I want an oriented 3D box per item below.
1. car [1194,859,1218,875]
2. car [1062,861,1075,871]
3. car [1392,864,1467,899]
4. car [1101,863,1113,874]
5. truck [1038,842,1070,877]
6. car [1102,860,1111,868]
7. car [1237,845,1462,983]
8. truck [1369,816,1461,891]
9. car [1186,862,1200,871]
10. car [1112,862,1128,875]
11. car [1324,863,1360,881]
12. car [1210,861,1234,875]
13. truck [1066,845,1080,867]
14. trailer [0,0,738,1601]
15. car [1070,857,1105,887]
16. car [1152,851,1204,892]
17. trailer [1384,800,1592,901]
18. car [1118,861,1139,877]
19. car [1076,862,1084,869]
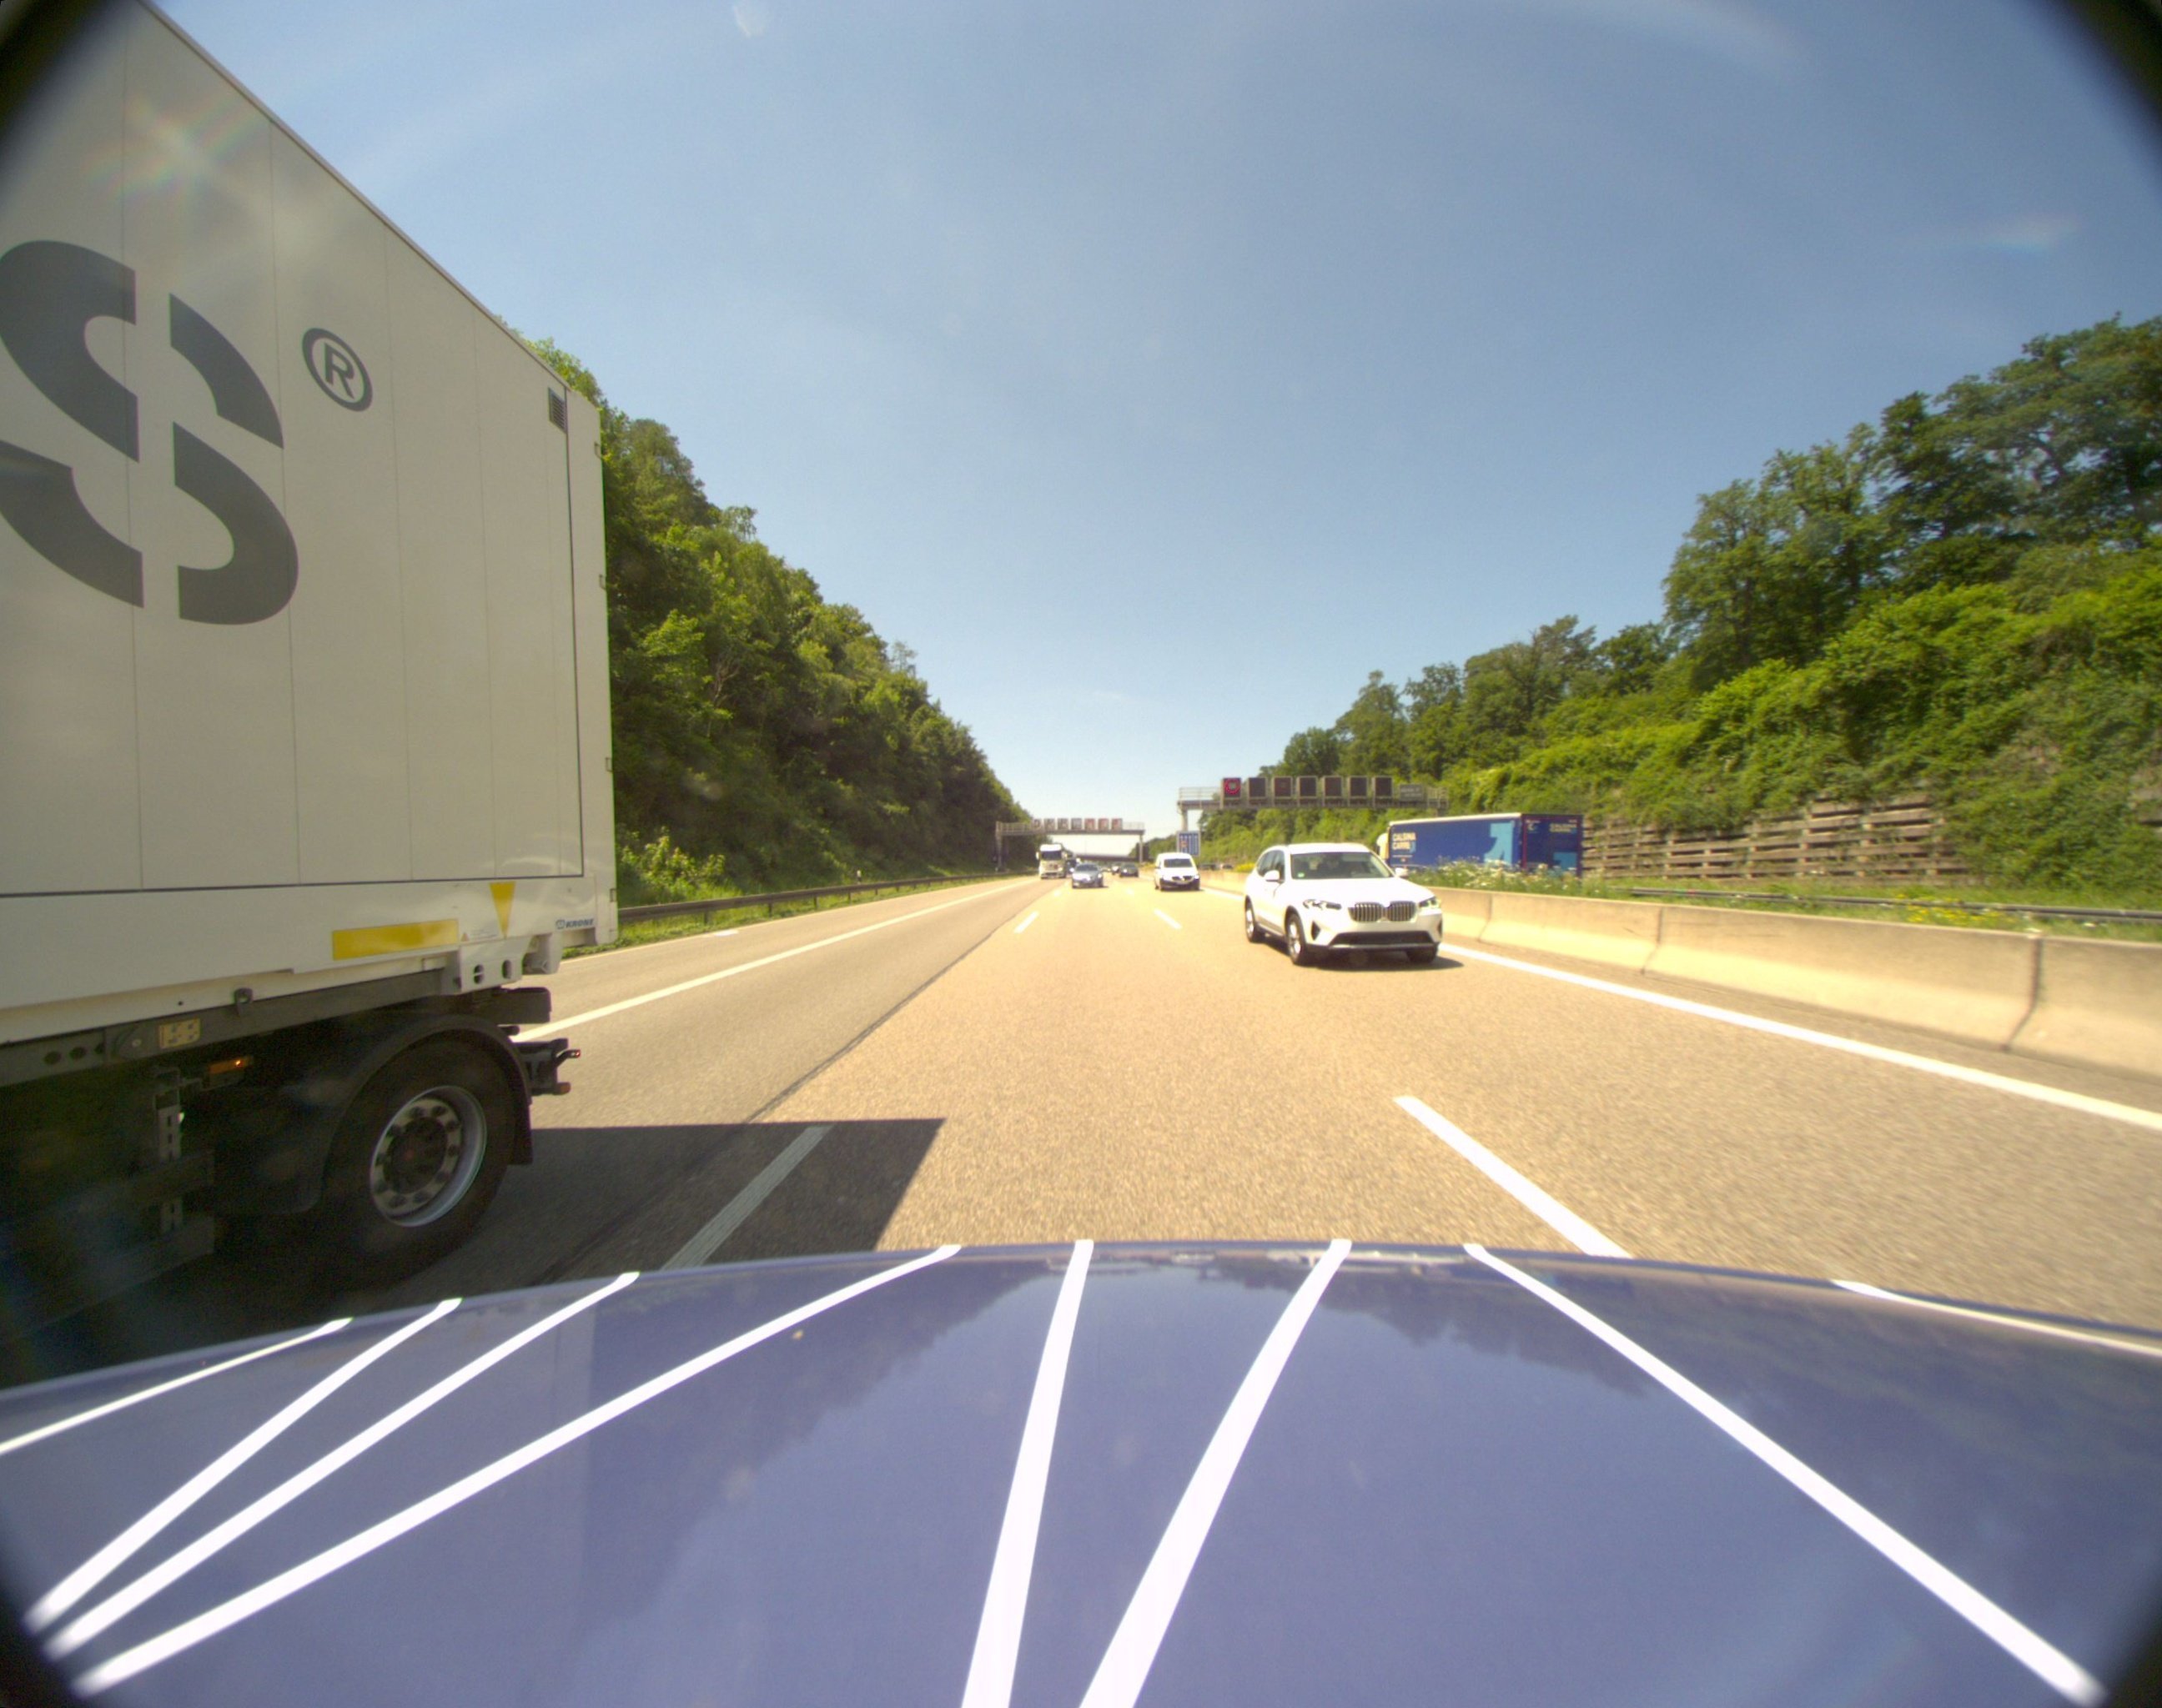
[{"bbox_3d":[12.005,1.223,73.223,1.732,1.516,4.374,0,-1,1],"label":"car"},{"bbox_3d":[-1.808,1.795,113.750,1.770,1.504,4.000,-3,-1,0],"label":"car"},{"bbox_3d":[15.409,1.182,33.789,1.662,1.368,3.712,-3,-1,2],"label":"car"},{"bbox_3d":[4.726,2.583,137.132,1.924,1.848,4.001,-3,-1,2],"label":"car"},{"bbox_3d":[-2.917,0.640,85.075,2.844,3.517,13.088,-3,-1,0],"label":"truck"},{"bbox_3d":[6.102,2.422,180.401,1.924,1.848,4.001,-3,-1,2],"label":"car"},{"bbox_3d":[3.753,0.779,11.539,1.850,1.634,4.369,-2,-1,0],"label":"car"},{"bbox_3d":[19.156,-0.010,44.016,2.687,4.006,5.931,-1,0,0],"label":"truck"},{"bbox_3d":[19.680,2.159,133.827,1.903,1.516,4.374,0,-1,1],"label":"car"},{"bbox_3d":[5.023,1.867,98.187,1.770,1.504,4.000,-3,-1,0],"label":"car"},{"bbox_3d":[23.120,1.591,67.393,1.789,1.516,4.373,0,-1,1],"label":"car"},{"bbox_3d":[15.732,1.598,84.866,1.903,1.516,4.374,0,-1,1],"label":"car"},{"bbox_3d":[-1.617,0.476,159.584,2.627,4.364,13.088,-3,-1,0],"label":"truck"},{"bbox_3d":[-3.905,-0.329,0.400,2.687,4.151,10.066,-2,-1,0],"label":"trailer"},{"bbox_3d":[0.427,1.019,44.297,1.843,1.517,4.502,-3,-1,2],"label":"car"},{"bbox_3d":[4.629,0.802,36.690,1.998,1.764,4.502,-3,-1,2],"label":"car"},{"bbox_3d":[19.116,-0.060,37.505,2.687,3.991,14.189,-1,-1,0],"label":"trailer"},{"bbox_3d":[4.676,1.475,75.082,1.770,1.504,4.726,-3,-1,0],"label":"car"},{"bbox_3d":[-0.308,2.962,201.200,1.924,1.848,4.001,-3,-1,2],"label":"car"}]
